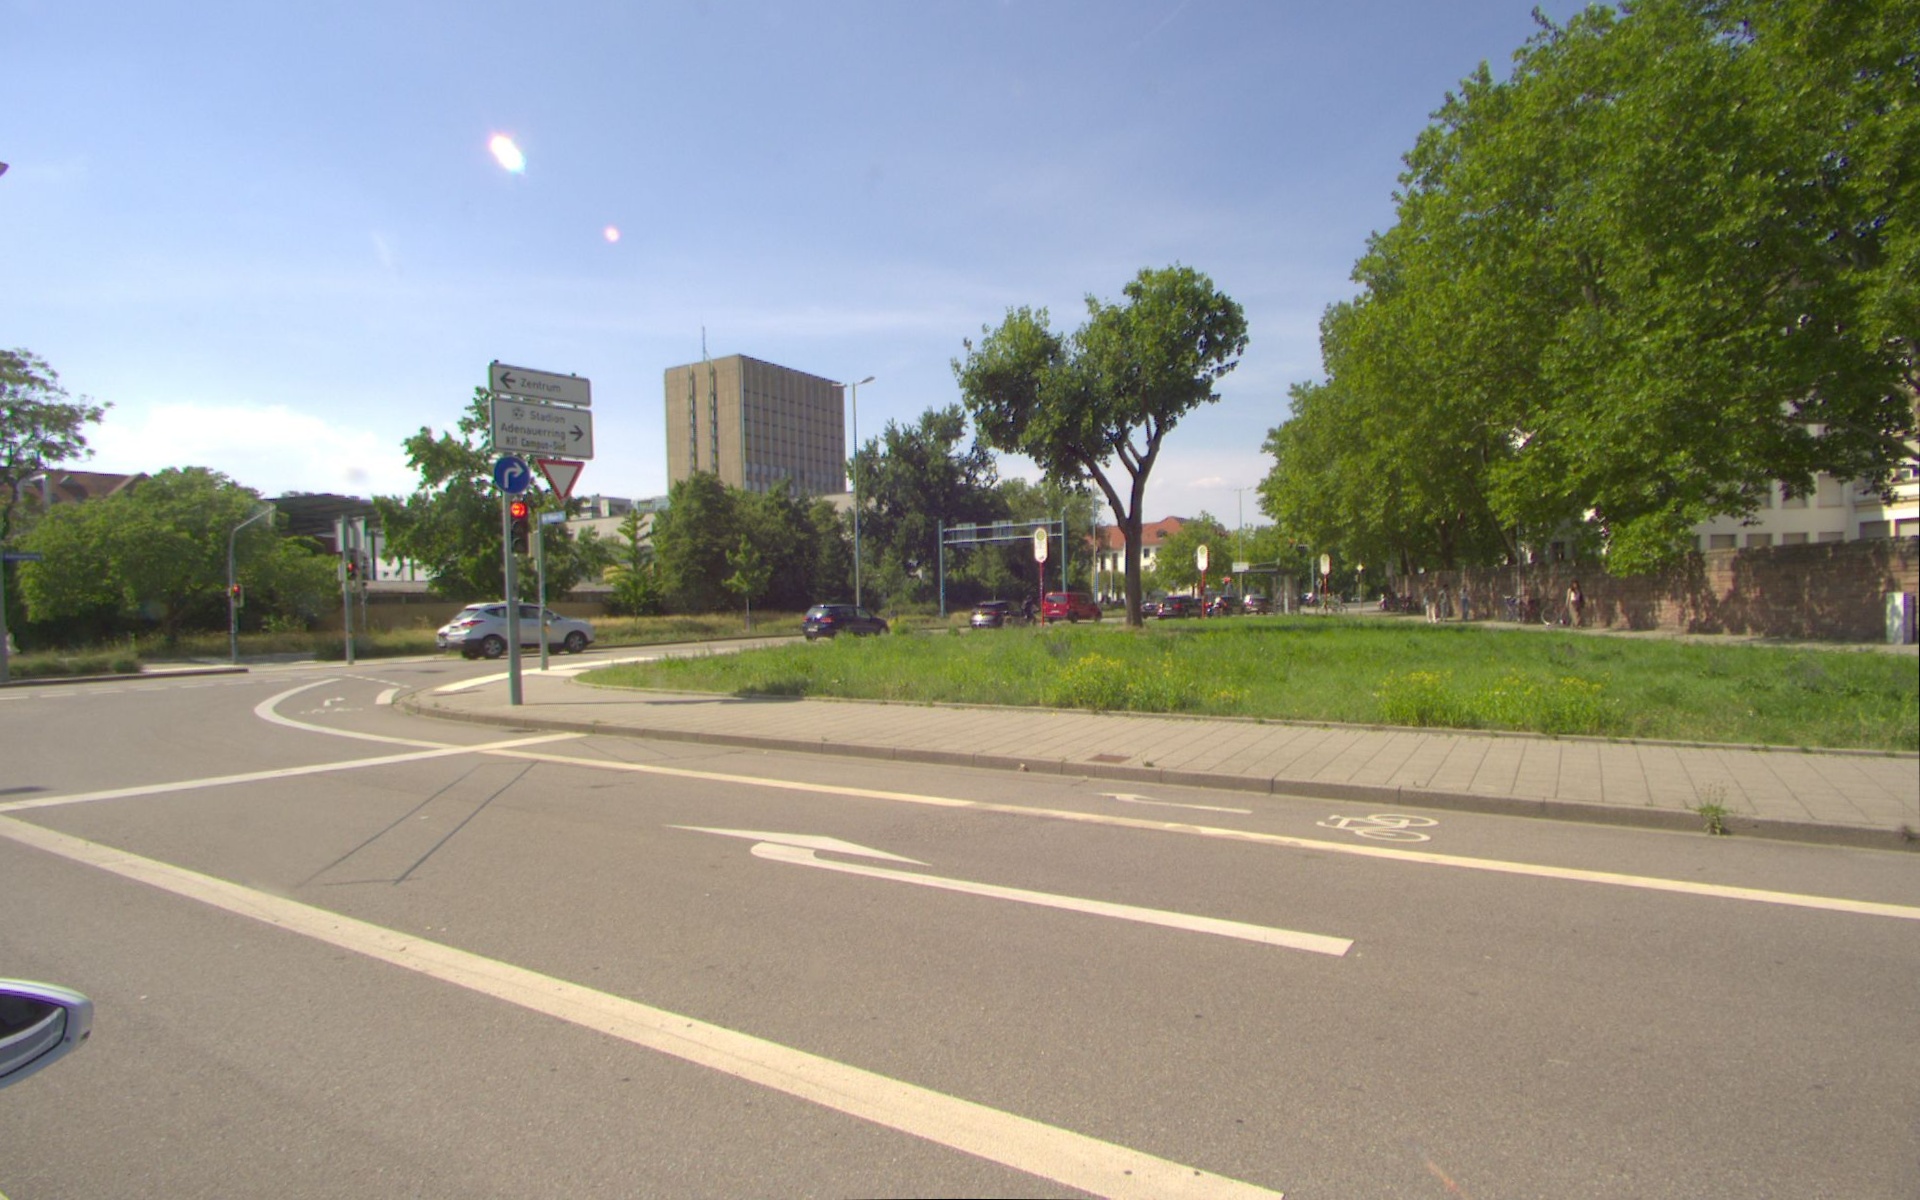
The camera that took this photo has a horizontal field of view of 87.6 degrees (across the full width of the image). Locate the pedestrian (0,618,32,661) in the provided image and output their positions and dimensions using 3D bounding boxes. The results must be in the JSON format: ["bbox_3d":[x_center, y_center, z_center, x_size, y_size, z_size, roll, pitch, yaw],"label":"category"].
[{"bbox_3d":[-36.753,1.526,38.920,0.683,1.600,0.809,-1,1,34],"label":"pedestrian"}]

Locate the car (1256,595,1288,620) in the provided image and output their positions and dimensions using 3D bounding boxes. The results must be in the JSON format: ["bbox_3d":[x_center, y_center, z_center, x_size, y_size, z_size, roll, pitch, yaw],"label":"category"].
[{"bbox_3d":[27.491,0.681,88.154,1.970,2.039,3.984,-1,-2,29],"label":"car"}]

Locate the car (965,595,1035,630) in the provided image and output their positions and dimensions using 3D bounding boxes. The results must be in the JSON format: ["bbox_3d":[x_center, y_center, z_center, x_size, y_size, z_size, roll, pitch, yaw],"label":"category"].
[{"bbox_3d":[2.064,0.611,50.453,1.564,1.612,3.972,-1,1,37],"label":"car"}]

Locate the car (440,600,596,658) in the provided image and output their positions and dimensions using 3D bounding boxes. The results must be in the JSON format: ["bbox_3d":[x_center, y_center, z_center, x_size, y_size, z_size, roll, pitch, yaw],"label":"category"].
[{"bbox_3d":[-13.909,0.867,31.680,1.693,1.640,4.178,0,1,44],"label":"car"}]

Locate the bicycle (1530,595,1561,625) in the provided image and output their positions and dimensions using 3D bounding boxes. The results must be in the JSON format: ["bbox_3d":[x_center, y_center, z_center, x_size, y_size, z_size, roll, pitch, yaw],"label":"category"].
[{"bbox_3d":[21.606,0.357,36.972,0.439,1.047,1.447,-1,1,6],"label":"bicycle"}]

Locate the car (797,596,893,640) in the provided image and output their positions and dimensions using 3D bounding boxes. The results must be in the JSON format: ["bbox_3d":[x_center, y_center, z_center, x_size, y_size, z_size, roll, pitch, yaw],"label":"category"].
[{"bbox_3d":[-4.594,0.701,40.541,1.564,1.612,3.972,-1,1,37],"label":"car"}]

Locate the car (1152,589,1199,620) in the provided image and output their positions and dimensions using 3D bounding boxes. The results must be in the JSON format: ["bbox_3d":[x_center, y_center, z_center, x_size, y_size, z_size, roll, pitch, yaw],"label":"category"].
[{"bbox_3d":[14.680,0.293,68.183,1.970,2.041,3.980,-1,1,30],"label":"car"}]

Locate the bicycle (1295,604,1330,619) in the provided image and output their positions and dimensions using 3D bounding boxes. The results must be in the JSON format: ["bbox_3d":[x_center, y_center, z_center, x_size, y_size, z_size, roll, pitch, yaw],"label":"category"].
[{"bbox_3d":[39.380,1.304,111.814,3.583,1.626,1.092,-1,-2,29],"label":"bicycle"}]

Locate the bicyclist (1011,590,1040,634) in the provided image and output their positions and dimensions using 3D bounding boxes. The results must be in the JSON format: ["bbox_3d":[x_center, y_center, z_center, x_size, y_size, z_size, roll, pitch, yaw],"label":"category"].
[{"bbox_3d":[3.120,0.597,47.725,0.769,2.039,1.265,-1,-2,38],"label":"bicyclist"}]

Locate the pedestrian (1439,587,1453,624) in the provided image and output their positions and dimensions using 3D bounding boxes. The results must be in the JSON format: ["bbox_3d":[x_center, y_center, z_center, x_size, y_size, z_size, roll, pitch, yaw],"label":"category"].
[{"bbox_3d":[21.257,0.219,43.816,0.515,1.599,0.701,-1,1,23],"label":"pedestrian"}]

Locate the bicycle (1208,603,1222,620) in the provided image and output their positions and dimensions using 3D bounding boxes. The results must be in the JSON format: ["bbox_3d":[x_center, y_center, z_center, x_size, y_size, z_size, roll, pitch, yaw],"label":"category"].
[{"bbox_3d":[17.207,0.763,67.639,0.552,1.066,1.318,-1,1,30],"label":"bicycle"}]

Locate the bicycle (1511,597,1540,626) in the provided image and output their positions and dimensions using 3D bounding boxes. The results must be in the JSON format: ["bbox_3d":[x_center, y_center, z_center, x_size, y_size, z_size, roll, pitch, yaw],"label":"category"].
[{"bbox_3d":[21.757,0.435,38.531,0.439,1.047,1.447,-1,1,6],"label":"bicycle"}]

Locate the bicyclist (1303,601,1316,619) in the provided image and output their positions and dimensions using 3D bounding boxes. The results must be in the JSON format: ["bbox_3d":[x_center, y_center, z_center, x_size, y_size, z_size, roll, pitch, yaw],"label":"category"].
[{"bbox_3d":[39.081,1.108,111.989,1.160,2.039,1.094,-1,-1,29],"label":"bicyclist"}]

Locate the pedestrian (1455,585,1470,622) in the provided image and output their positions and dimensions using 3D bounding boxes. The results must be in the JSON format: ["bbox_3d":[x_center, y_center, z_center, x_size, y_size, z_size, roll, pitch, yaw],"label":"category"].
[{"bbox_3d":[21.795,0.159,43.448,0.515,1.599,0.701,-1,1,23],"label":"pedestrian"}]

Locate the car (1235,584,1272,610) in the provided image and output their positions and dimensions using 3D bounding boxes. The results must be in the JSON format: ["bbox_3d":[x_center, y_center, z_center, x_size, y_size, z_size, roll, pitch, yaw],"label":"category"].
[{"bbox_3d":[24.182,-0.227,82.417,1.970,2.041,3.980,-1,1,30],"label":"car"}]

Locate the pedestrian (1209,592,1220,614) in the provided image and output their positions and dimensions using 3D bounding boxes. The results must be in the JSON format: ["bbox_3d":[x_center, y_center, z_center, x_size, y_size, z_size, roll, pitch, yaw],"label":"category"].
[{"bbox_3d":[17.189,0.215,67.622,0.552,1.458,0.729,0,1,30],"label":"pedestrian"}]

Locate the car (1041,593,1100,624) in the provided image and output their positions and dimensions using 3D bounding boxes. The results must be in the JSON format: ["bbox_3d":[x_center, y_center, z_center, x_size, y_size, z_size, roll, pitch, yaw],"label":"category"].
[{"bbox_3d":[6.981,0.486,62.857,1.950,1.821,4.587,-1,1,31],"label":"car"}]

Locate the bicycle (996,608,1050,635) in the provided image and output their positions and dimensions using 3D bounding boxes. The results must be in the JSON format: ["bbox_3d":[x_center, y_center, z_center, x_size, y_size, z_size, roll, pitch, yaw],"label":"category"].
[{"bbox_3d":[3.028,1.027,47.616,0.838,1.233,3.462,-1,-2,37],"label":"bicycle"}]

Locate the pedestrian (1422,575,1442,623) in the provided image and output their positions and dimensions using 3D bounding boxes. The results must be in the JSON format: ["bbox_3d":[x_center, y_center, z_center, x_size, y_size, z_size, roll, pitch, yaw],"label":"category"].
[{"bbox_3d":[20.361,-0.037,43.175,0.513,2.040,0.596,-2,1,-9],"label":"pedestrian"}]

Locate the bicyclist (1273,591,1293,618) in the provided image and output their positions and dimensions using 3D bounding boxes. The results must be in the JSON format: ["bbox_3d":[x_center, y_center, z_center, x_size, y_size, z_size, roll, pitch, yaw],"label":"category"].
[{"bbox_3d":[20.356,0.277,63.096,1.068,1.659,0.486,-1,1,29],"label":"bicyclist"}]

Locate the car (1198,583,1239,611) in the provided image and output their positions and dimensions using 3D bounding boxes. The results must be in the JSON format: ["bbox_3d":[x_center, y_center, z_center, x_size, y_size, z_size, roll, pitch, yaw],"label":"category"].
[{"bbox_3d":[19.485,-0.223,75.432,1.970,2.041,3.980,-1,1,30],"label":"car"}]

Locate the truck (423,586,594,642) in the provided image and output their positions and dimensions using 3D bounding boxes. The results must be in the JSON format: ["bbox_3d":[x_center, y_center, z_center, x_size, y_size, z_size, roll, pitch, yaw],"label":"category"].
[{"bbox_3d":[-20.717,0.573,46.387,2.379,2.387,7.007,-1,1,33],"label":"truck"}]

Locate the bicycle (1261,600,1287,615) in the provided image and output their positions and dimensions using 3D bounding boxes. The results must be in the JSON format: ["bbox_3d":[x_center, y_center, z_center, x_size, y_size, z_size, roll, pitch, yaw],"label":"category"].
[{"bbox_3d":[19.722,0.445,62.938,1.912,0.899,0.679,-2,1,-42],"label":"bicycle"}]

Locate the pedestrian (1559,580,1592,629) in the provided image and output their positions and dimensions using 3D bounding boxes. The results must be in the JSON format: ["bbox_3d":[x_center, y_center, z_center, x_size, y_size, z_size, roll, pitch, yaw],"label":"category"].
[{"bbox_3d":[20.495,0.148,33.349,0.493,1.569,0.913,-1,1,-4],"label":"pedestrian"}]
